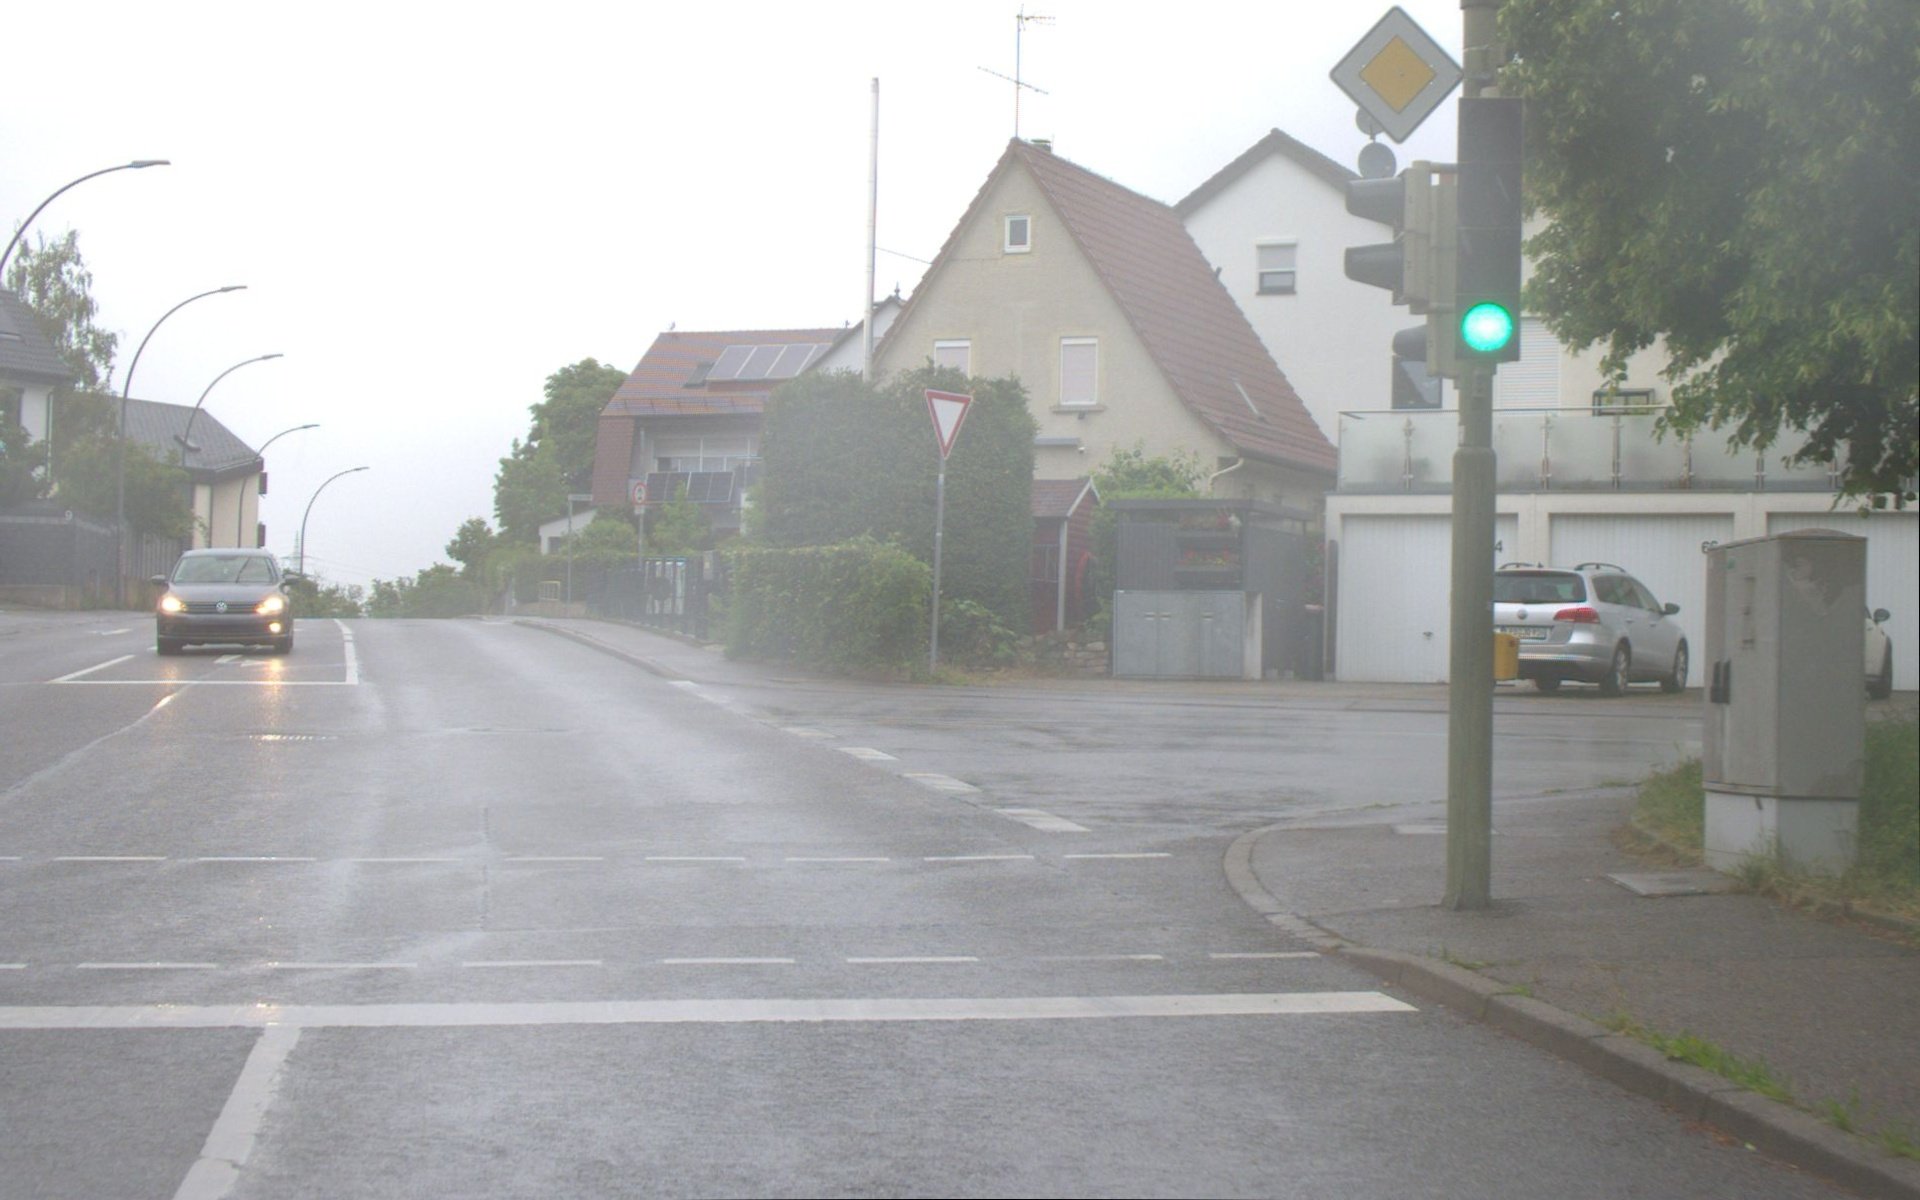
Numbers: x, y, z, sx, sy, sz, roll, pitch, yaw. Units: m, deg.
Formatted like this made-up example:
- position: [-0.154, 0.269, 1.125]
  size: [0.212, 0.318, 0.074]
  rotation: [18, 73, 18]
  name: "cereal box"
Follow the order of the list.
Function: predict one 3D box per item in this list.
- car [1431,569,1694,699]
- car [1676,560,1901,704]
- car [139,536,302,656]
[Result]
- position: [7.078, 0.356, 40.060]
  size: [1.996, 1.393, 4.145]
  rotation: [0, 1, 25]
  name: "car"
- position: [9.467, 0.323, 39.075]
  size: [1.996, 1.525, 3.996]
  rotation: [0, 1, 21]
  name: "car"
- position: [-10.180, -0.086, 47.147]
  size: [1.943, 1.568, 4.227]
  rotation: [0, 1, -15]
  name: "car"
